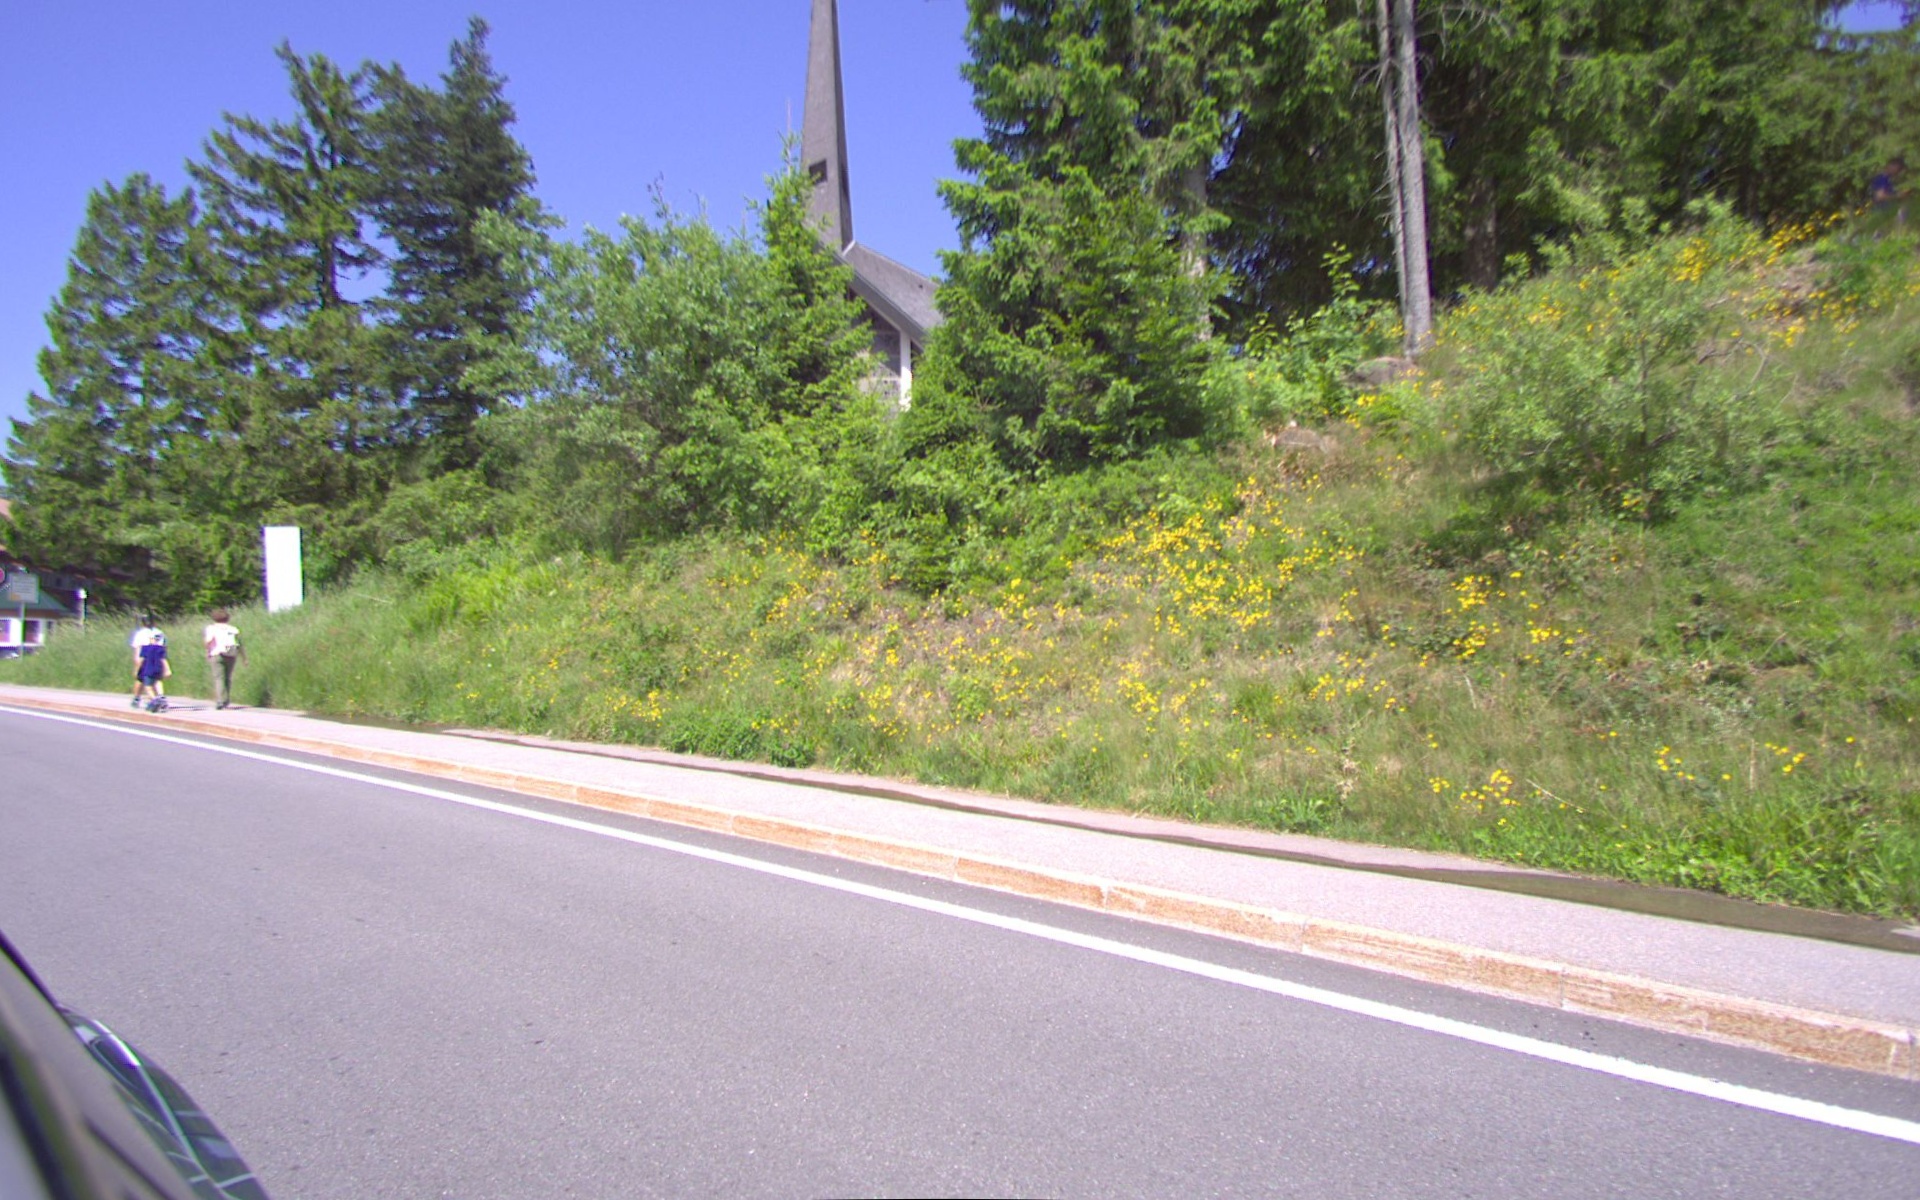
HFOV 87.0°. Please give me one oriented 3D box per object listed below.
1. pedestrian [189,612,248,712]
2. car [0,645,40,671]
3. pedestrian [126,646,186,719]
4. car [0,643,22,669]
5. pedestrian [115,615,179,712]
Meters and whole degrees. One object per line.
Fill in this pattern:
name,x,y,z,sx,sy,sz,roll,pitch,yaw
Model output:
pedestrian,-12.713,1.053,17.347,0.893,1.655,0.570,-2,-3,38
car,-52.704,3.221,55.914,1.683,1.406,3.326,1,-4,-21
pedestrian,-12.639,1.275,15.905,0.744,1.110,0.563,-2,-3,38
car,-54.853,3.147,57.087,1.689,1.445,3.326,1,-3,-21
pedestrian,-13.455,1.035,16.741,0.878,1.549,0.575,-2,-3,35
